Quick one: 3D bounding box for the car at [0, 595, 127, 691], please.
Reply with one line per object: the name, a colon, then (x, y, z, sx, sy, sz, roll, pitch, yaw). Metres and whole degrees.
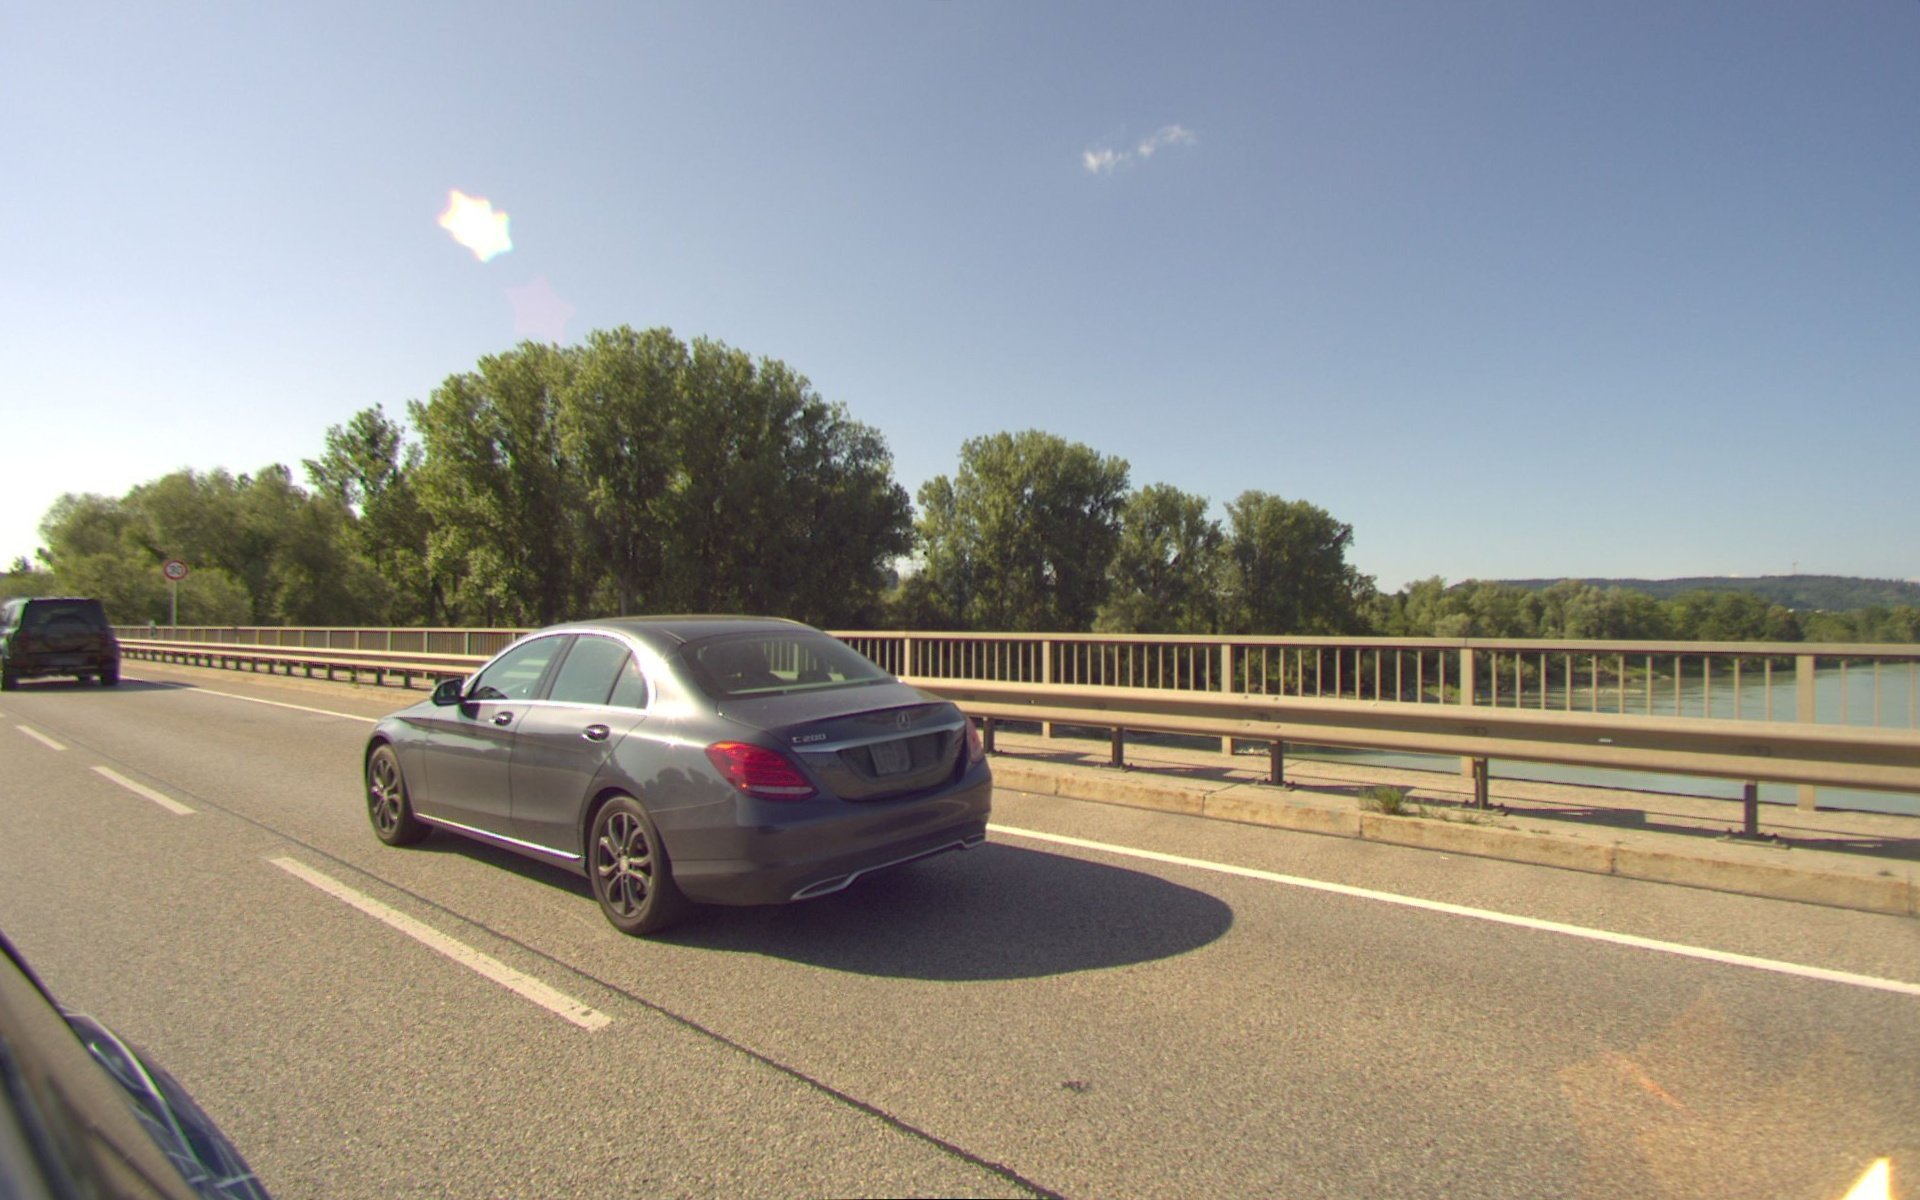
car: (-20.359, 0.896, 22.490, 5.066, 1.888, 2.016, -1, -1, 41)

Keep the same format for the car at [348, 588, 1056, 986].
car: (-1.771, 0.718, 5.840, 4.454, 1.458, 1.747, -1, -1, 41)
